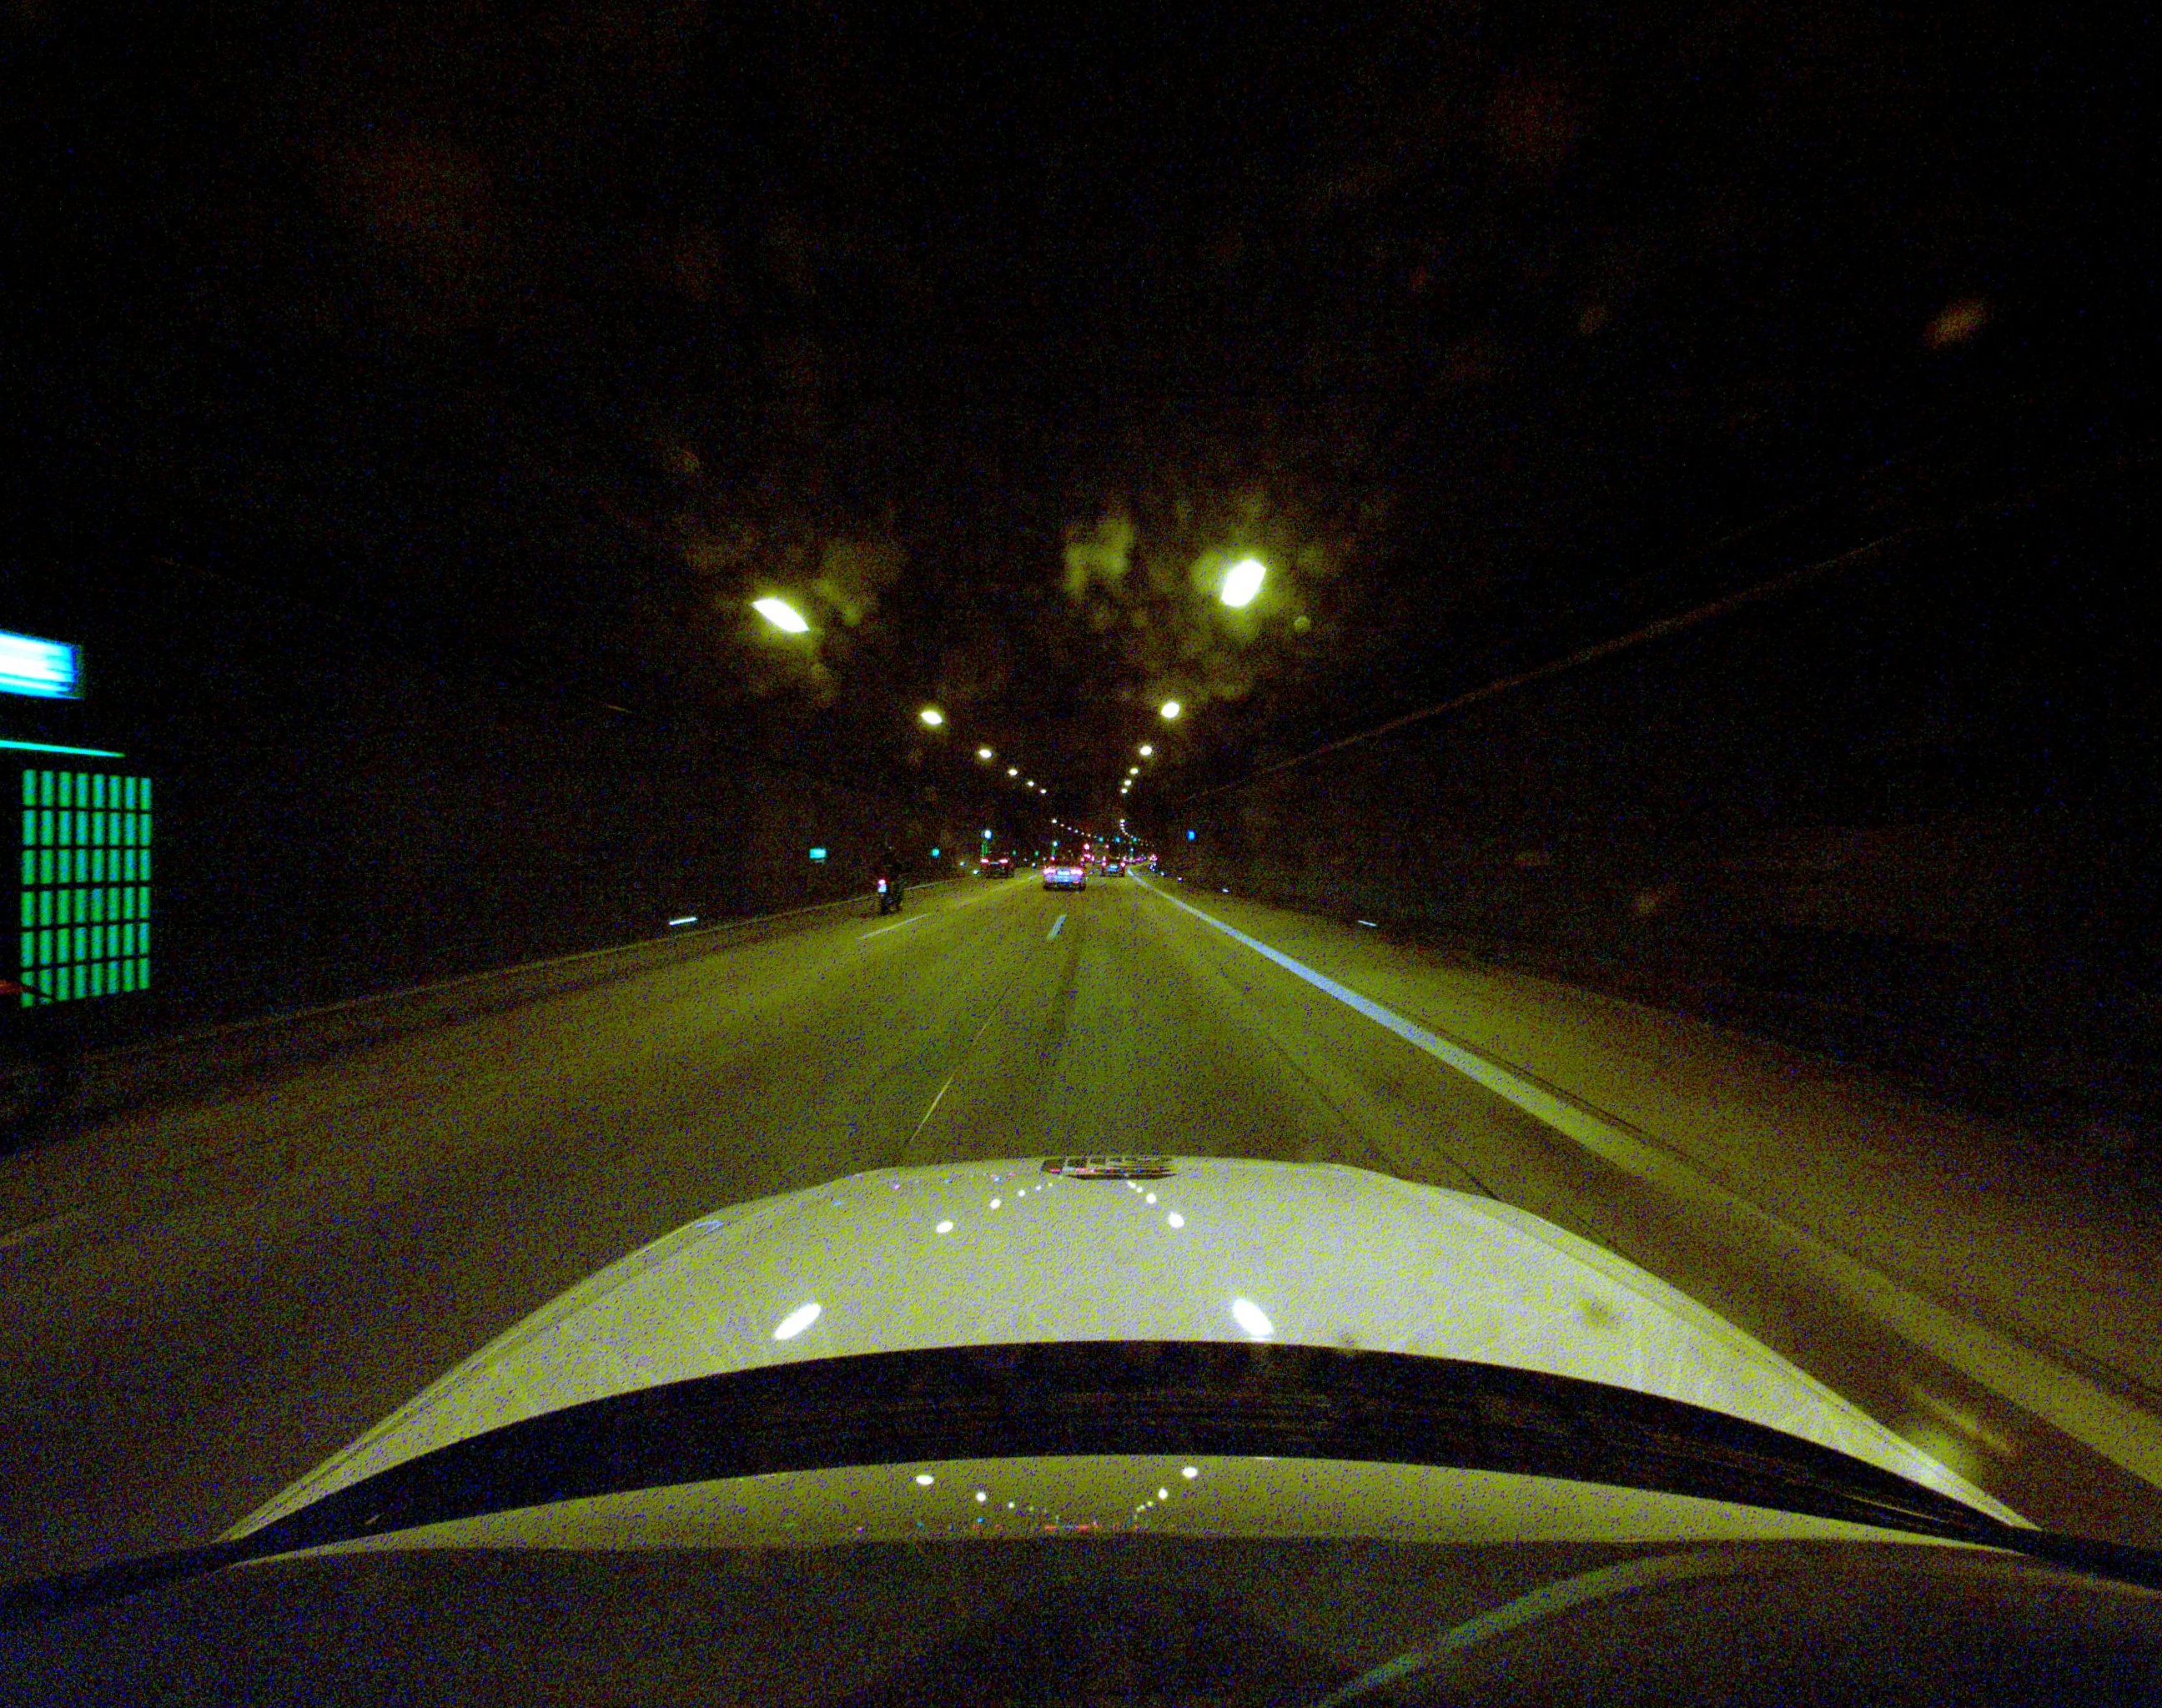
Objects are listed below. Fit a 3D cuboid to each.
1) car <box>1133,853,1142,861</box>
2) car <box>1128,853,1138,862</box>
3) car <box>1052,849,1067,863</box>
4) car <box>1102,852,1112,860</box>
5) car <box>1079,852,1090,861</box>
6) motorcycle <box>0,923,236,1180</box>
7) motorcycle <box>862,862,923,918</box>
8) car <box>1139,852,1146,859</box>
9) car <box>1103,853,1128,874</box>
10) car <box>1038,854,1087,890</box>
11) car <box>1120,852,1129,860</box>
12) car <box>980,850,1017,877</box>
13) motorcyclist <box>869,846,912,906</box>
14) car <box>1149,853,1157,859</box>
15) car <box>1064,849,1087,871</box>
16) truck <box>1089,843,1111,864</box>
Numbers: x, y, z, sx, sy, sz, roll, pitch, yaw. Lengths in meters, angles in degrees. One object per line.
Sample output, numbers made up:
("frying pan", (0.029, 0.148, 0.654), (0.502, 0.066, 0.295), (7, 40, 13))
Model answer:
("car", (12.007, 0.660, 173.038), (1.851, 1.666, 4.002), (0, 0, 2))
("car", (9.186, 0.659, 144.321), (1.835, 1.568, 4.004), (0, 0, 4))
("car", (-2.743, 0.242, 103.389), (1.795, 1.684, 3.999), (-2, -1, -1))
("car", (5.740, 0.425, 179.493), (1.822, 1.618, 4.004), (0, 0, 4))
("car", (0.655, 0.423, 144.826), (1.835, 1.603, 4.004), (0, 0, 4))
("motorcycle", (-5.785, 1.007, 3.794), (1.048, 1.157, 2.431), (-1, 0, 5))
("motorcycle", (-4.854, 0.899, 21.141), (0.842, 1.245, 2.606), (-2, 1, 2))
("car", (16.505, 0.415, 218.330), (1.826, 1.691, 4.003), (0, 0, 3))
("car", (2.683, 0.719, 63.432), (1.833, 1.602, 4.002), (-1, 0, 2))
("car", (-0.764, 0.781, 36.356), (1.986, 1.483, 4.001), (1, 0, 2))
("car", (10.006, 0.521, 187.677), (1.986, 1.754, 4.001), (-1, -1, 1))
("car", (-5.124, 0.587, 50.966), (1.779, 1.598, 3.803), (1, 0, 2))
("motorcyclist", (-4.875, 0.555, 20.905), (0.836, 1.477, 0.822), (-2, 0, 1))
("car", (19.064, 0.602, 214.788), (1.837, 1.551, 4.002), (0, 0, 2))
("car", (-0.473, 0.546, 76.754), (1.986, 1.972, 4.002), (-2, -1, 2))
("truck", (2.993, -0.183, 127.491), (3.070, 3.113, 10.038), (-1, 1, 3))
